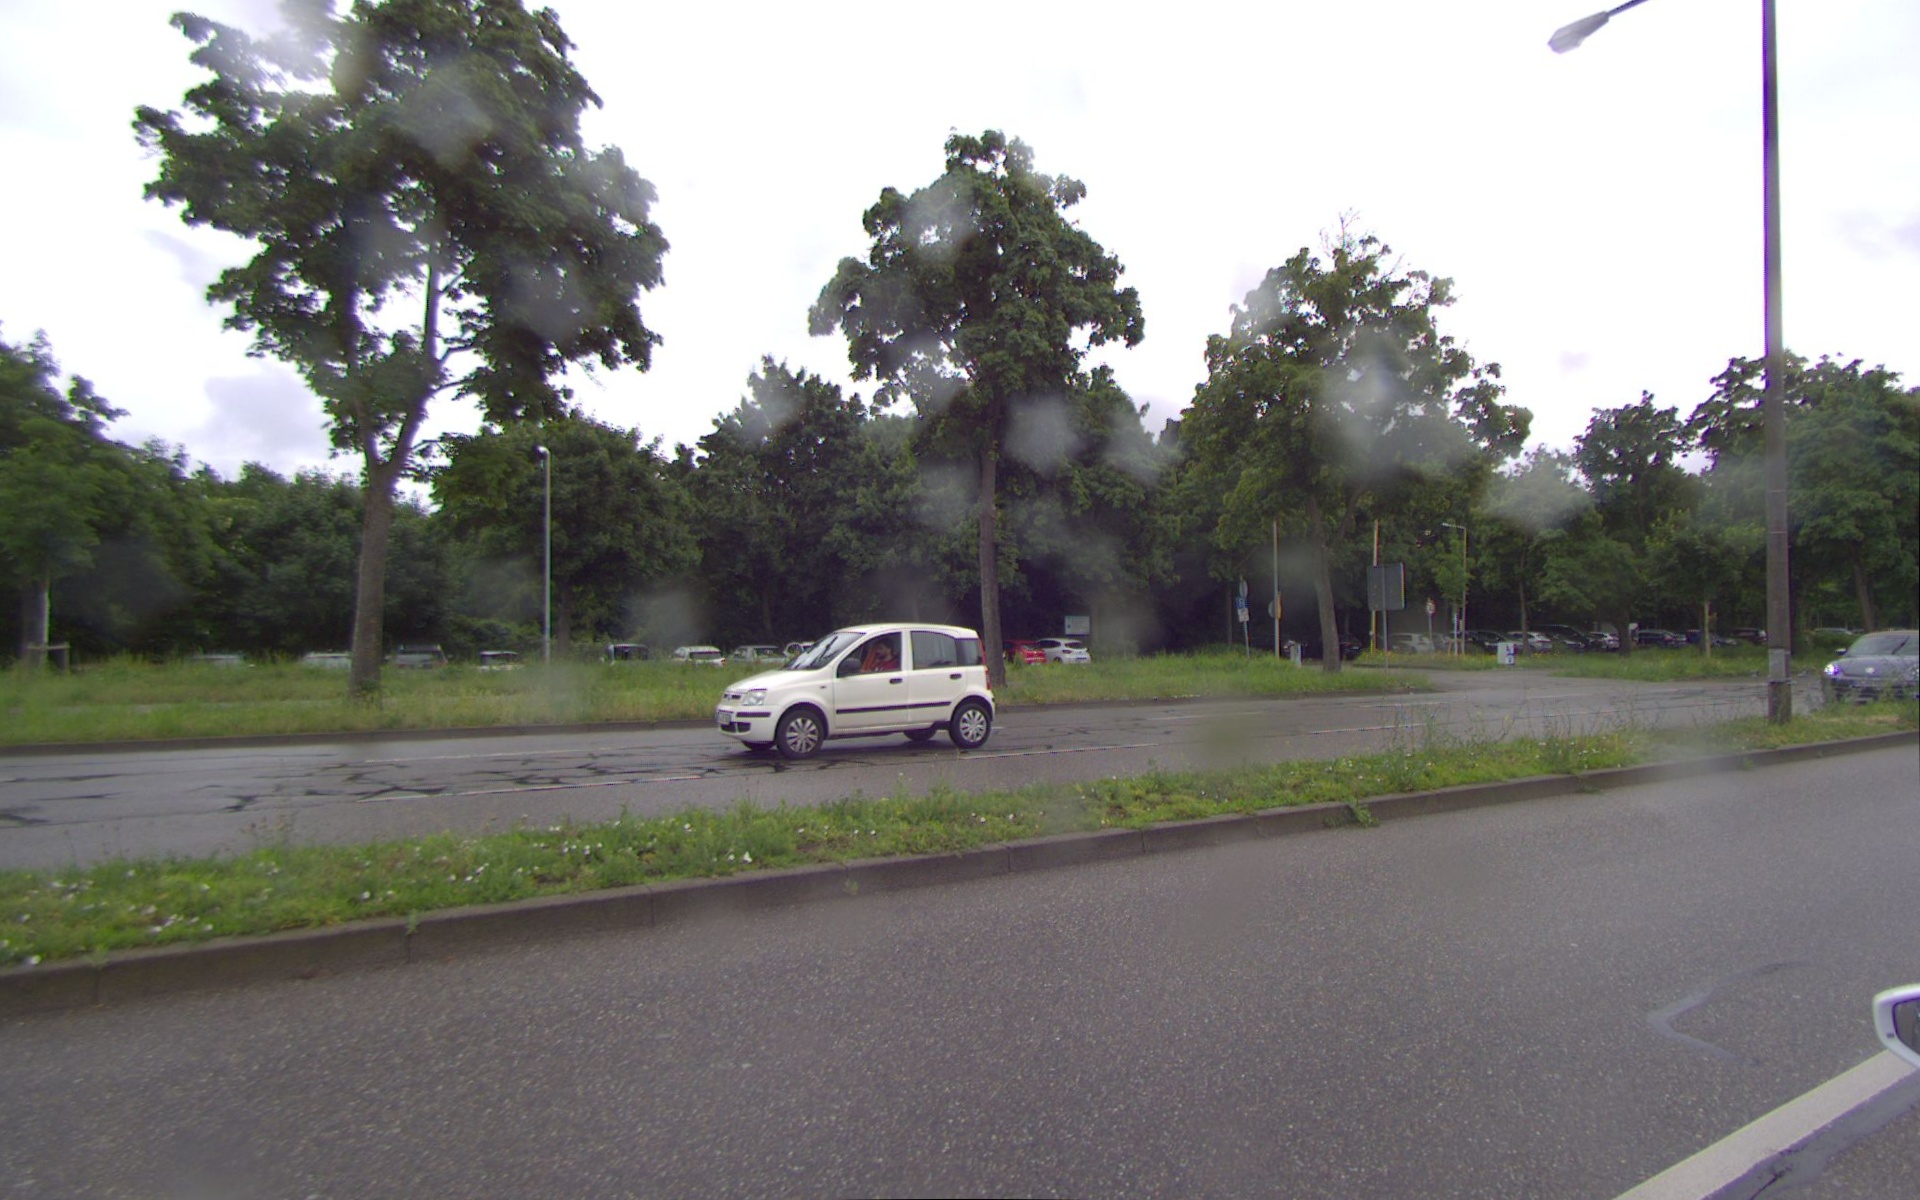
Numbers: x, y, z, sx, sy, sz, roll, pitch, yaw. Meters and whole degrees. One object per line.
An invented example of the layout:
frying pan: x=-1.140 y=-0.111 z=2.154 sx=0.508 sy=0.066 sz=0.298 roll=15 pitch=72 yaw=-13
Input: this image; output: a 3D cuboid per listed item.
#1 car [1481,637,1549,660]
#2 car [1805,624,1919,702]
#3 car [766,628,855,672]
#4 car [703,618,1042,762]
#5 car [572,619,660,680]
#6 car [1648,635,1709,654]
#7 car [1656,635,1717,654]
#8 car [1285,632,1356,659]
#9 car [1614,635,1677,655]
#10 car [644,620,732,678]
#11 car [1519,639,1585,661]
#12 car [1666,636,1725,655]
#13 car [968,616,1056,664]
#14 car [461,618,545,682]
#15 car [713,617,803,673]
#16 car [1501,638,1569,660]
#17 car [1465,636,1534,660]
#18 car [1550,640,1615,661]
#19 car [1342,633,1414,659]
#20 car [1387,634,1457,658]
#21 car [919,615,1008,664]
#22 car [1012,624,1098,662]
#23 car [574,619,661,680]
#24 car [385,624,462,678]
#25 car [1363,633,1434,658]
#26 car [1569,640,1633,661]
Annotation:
car: x=37.907 y=3.284 z=68.694 sx=1.509 sy=1.471 sz=3.811 roll=1 pitch=-2 yaw=-34
car: x=19.306 y=1.245 z=20.656 sx=3.764 sy=1.469 sz=1.819 roll=1 pitch=-2 yaw=-30
car: x=-6.016 y=1.962 z=40.077 sx=1.980 sy=1.639 sz=3.962 roll=1 pitch=-2 yaw=-34
car: x=-1.065 y=1.054 z=12.700 sx=3.951 sy=1.574 sz=1.676 roll=1 pitch=-2 yaw=-29
car: x=-12.407 y=1.726 z=36.107 sx=1.980 sy=2.040 sz=3.962 roll=1 pitch=-2 yaw=-35
car: x=57.333 y=3.532 z=80.200 sx=1.515 sy=1.471 sz=3.797 roll=2 pitch=-2 yaw=-45
car: x=58.764 y=3.582 z=81.300 sx=1.515 sy=1.471 sz=3.797 roll=2 pitch=-2 yaw=-45
car: x=20.729 y=2.588 z=57.869 sx=1.473 sy=1.445 sz=3.710 roll=1 pitch=-2 yaw=-34
car: x=52.939 y=3.462 z=77.634 sx=1.513 sy=1.471 sz=3.801 roll=1 pitch=-2 yaw=-41
car: x=-10.245 y=1.799 z=37.621 sx=1.980 sy=2.040 sz=3.962 roll=1 pitch=-2 yaw=-35
car: x=42.018 y=3.498 z=71.329 sx=1.509 sy=1.471 sz=3.811 roll=1 pitch=-2 yaw=-34
car: x=60.774 y=3.746 z=83.025 sx=1.515 sy=1.471 sz=3.797 roll=2 pitch=-2 yaw=-45
car: x=2.289 y=1.766 z=45.199 sx=1.980 sy=2.040 sz=3.962 roll=1 pitch=-2 yaw=-35
car: x=-15.756 y=1.666 z=34.520 sx=1.980 sy=2.040 sz=3.962 roll=1 pitch=-2 yaw=-35
car: x=-7.821 y=1.687 z=38.670 sx=1.980 sy=2.040 sz=3.962 roll=1 pitch=-2 yaw=-35
car: x=40.078 y=3.395 z=70.085 sx=1.509 sy=1.471 sz=3.811 roll=1 pitch=-2 yaw=-34
car: x=36.030 y=3.193 z=67.167 sx=1.509 sy=1.471 sz=3.811 roll=1 pitch=-2 yaw=-34
car: x=46.053 y=3.687 z=74.331 sx=1.509 sy=1.471 sz=3.811 roll=1 pitch=-2 yaw=-34
car: x=25.131 y=2.740 z=60.516 sx=1.509 sy=1.471 sz=3.811 roll=1 pitch=-2 yaw=-34
car: x=29.194 y=2.900 z=63.597 sx=1.509 sy=1.471 sz=3.811 roll=1 pitch=-2 yaw=-34
car: x=0.104 y=1.695 z=43.915 sx=1.980 sy=2.040 sz=3.962 roll=1 pitch=-2 yaw=-35
car: x=4.355 y=1.966 z=46.440 sx=1.892 sy=1.661 sz=3.962 roll=1 pitch=-2 yaw=-34
car: x=-12.361 y=1.732 z=36.154 sx=1.980 sy=2.040 sz=3.962 roll=1 pitch=-2 yaw=-35
car: x=-17.732 y=1.643 z=33.113 sx=1.805 sy=1.661 sz=3.962 roll=1 pitch=-2 yaw=-34
car: x=27.033 y=2.800 z=62.049 sx=1.509 sy=1.471 sz=3.811 roll=1 pitch=-2 yaw=-34
car: x=48.132 y=3.781 z=75.492 sx=1.509 sy=1.471 sz=3.811 roll=1 pitch=-2 yaw=-34
